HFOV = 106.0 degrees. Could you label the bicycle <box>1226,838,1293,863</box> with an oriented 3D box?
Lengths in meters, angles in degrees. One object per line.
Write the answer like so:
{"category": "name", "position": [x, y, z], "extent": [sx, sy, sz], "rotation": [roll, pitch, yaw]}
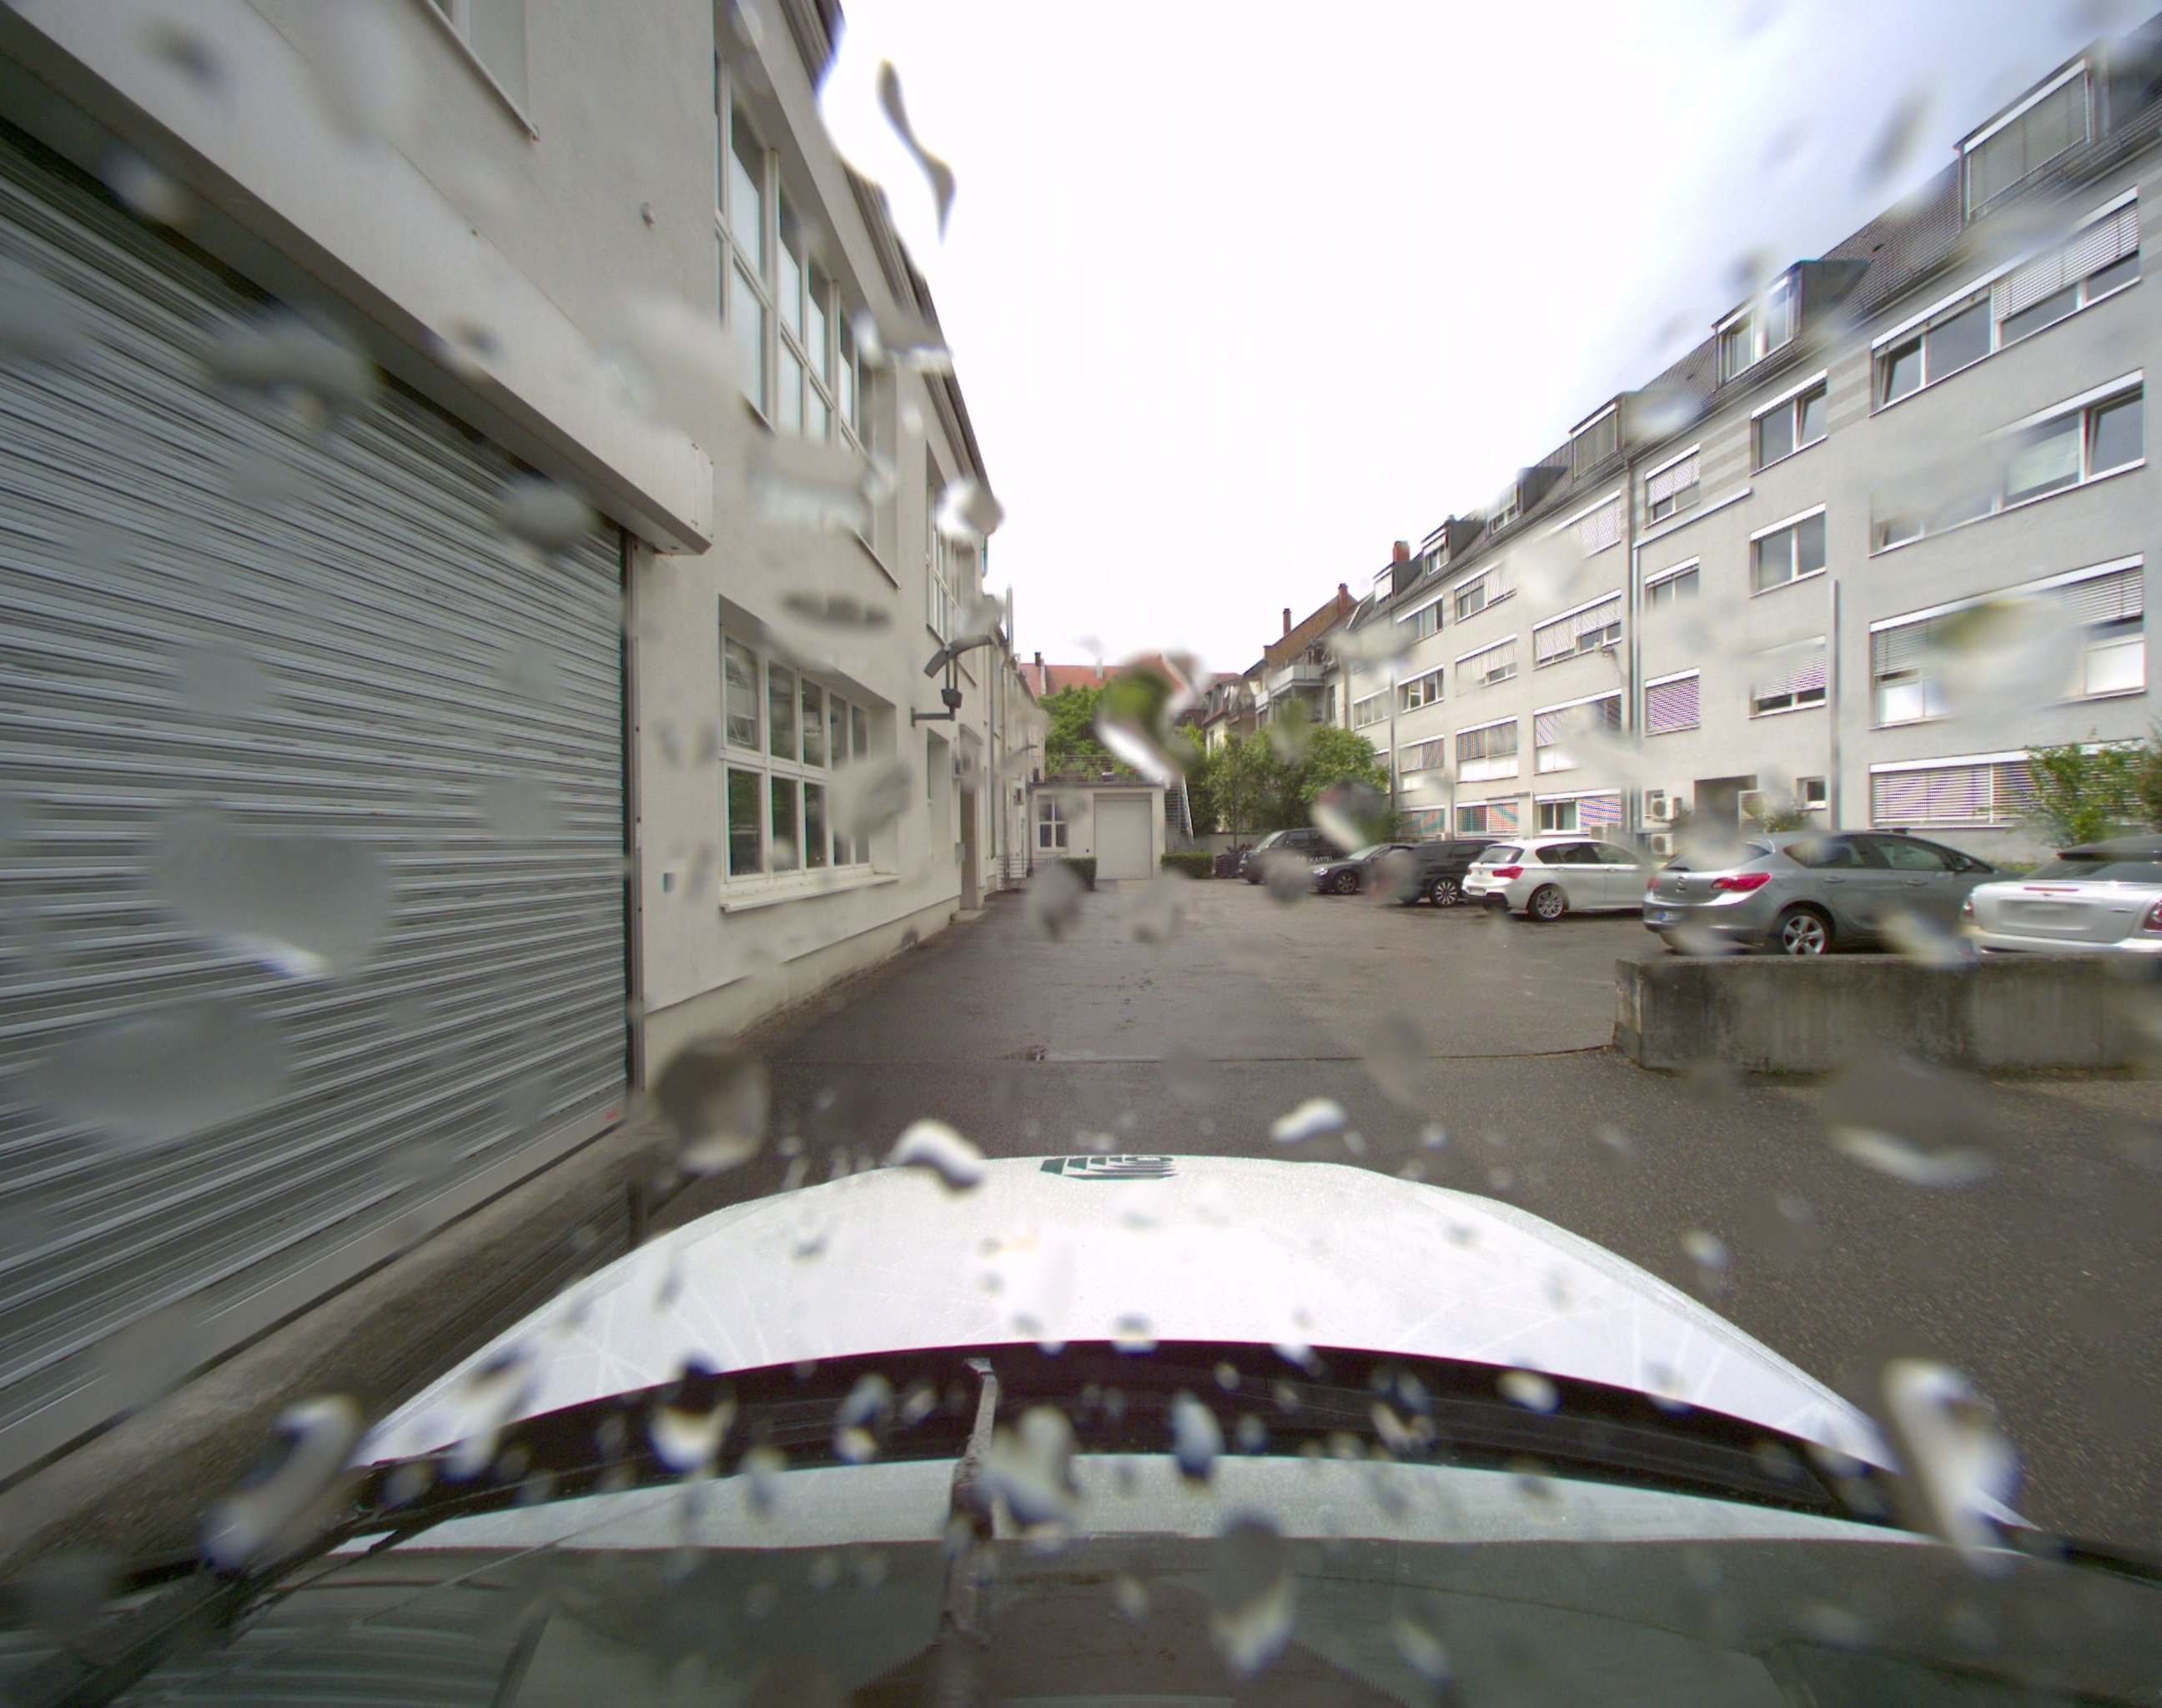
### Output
{"category": "bicycle", "position": [8.157, -0.157, 37.260], "extent": [2.916, 1.078, 0.689], "rotation": [0, 2, -2]}

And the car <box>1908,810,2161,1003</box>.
{"category": "car", "position": [9.847, 0.295, 6.839], "extent": [3.974, 1.354, 1.791], "rotation": [-3, 1, 0]}

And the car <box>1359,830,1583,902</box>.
{"category": "car", "position": [8.712, 0.237, 18.394], "extent": [4.164, 1.401, 1.936], "rotation": [-2, 1, -6]}

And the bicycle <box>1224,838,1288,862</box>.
{"category": "bicycle", "position": [8.148, -0.186, 38.039], "extent": [2.836, 1.078, 0.689], "rotation": [0, 2, -2]}

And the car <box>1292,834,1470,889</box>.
{"category": "car", "position": [8.387, 0.181, 22.986], "extent": [4.347, 1.348, 1.857], "rotation": [-2, 2, -6]}

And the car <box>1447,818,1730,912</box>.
{"category": "car", "position": [9.137, 0.170, 14.880], "extent": [4.089, 1.455, 1.831], "rotation": [-2, 1, -3]}

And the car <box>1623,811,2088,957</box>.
{"category": "car", "position": [9.022, 0.311, 9.698], "extent": [4.070, 1.458, 1.666], "rotation": [-2, 0, -3]}

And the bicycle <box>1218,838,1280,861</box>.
{"category": "bicycle", "position": [7.988, -0.213, 38.755], "extent": [2.836, 1.078, 0.689], "rotation": [0, 2, -2]}

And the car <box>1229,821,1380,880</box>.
{"category": "car", "position": [7.840, -0.157, 28.802], "extent": [4.703, 1.833, 2.107], "rotation": [-2, 1, -6]}

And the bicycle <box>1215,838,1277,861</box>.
{"category": "bicycle", "position": [7.975, -0.240, 39.469], "extent": [2.836, 1.078, 0.689], "rotation": [0, 2, -2]}
